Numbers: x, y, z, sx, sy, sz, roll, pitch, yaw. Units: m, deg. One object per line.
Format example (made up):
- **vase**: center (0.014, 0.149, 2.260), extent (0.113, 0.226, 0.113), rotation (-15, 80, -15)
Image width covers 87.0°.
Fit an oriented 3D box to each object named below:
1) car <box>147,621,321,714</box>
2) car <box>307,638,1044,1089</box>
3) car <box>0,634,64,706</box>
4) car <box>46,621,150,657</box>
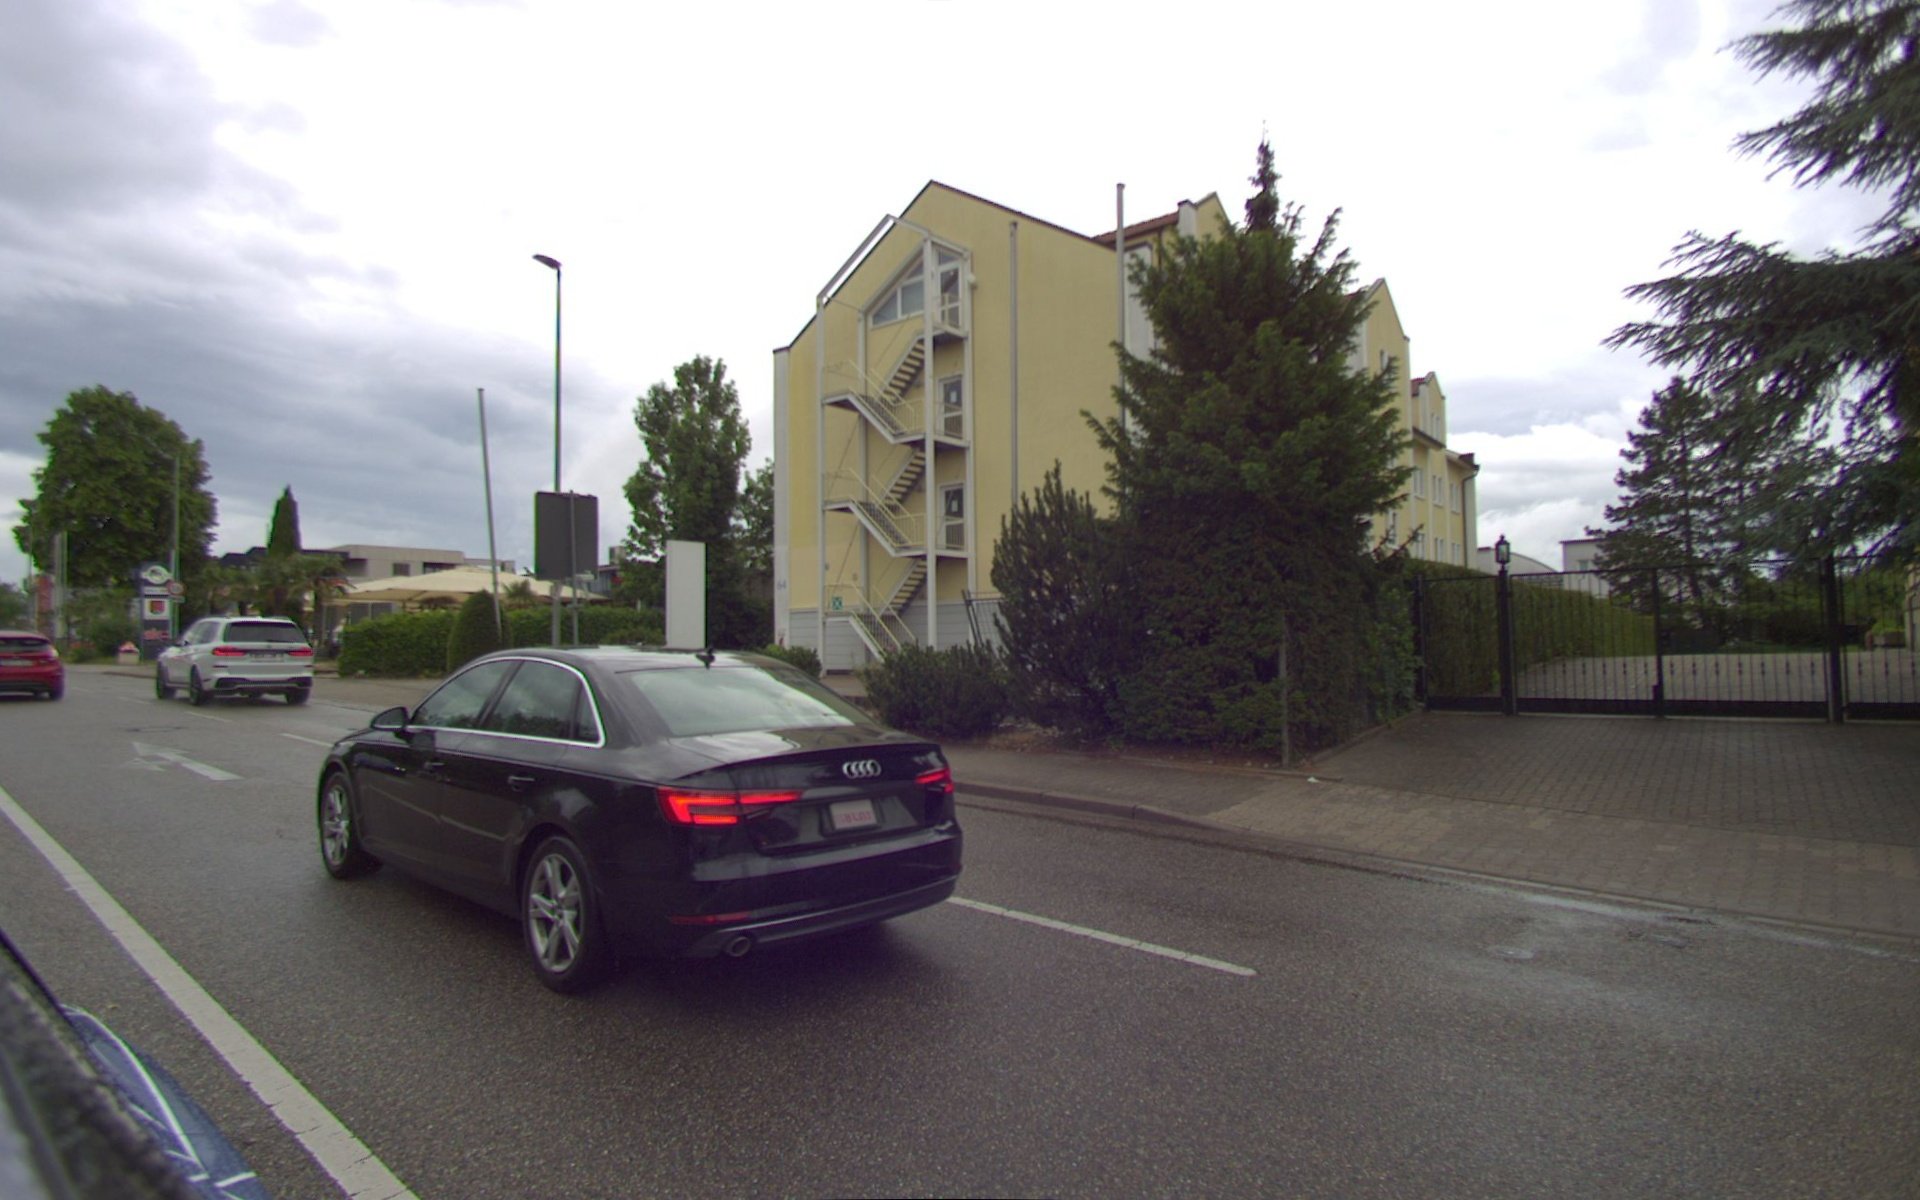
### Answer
- **car**: center (-15.770, 1.406, 21.865), extent (5.141, 1.776, 1.897), rotation (-2, -4, 42)
- **car**: center (-1.800, 0.933, 5.423), extent (4.265, 1.414, 1.872), rotation (-2, -3, 43)
- **car**: center (-20.656, 1.453, 21.689), extent (3.839, 1.430, 1.663), rotation (-2, -4, 42)
- **car**: center (-51.441, 2.375, 60.531), extent (1.980, 2.029, 4.381), rotation (-1, -4, 13)
